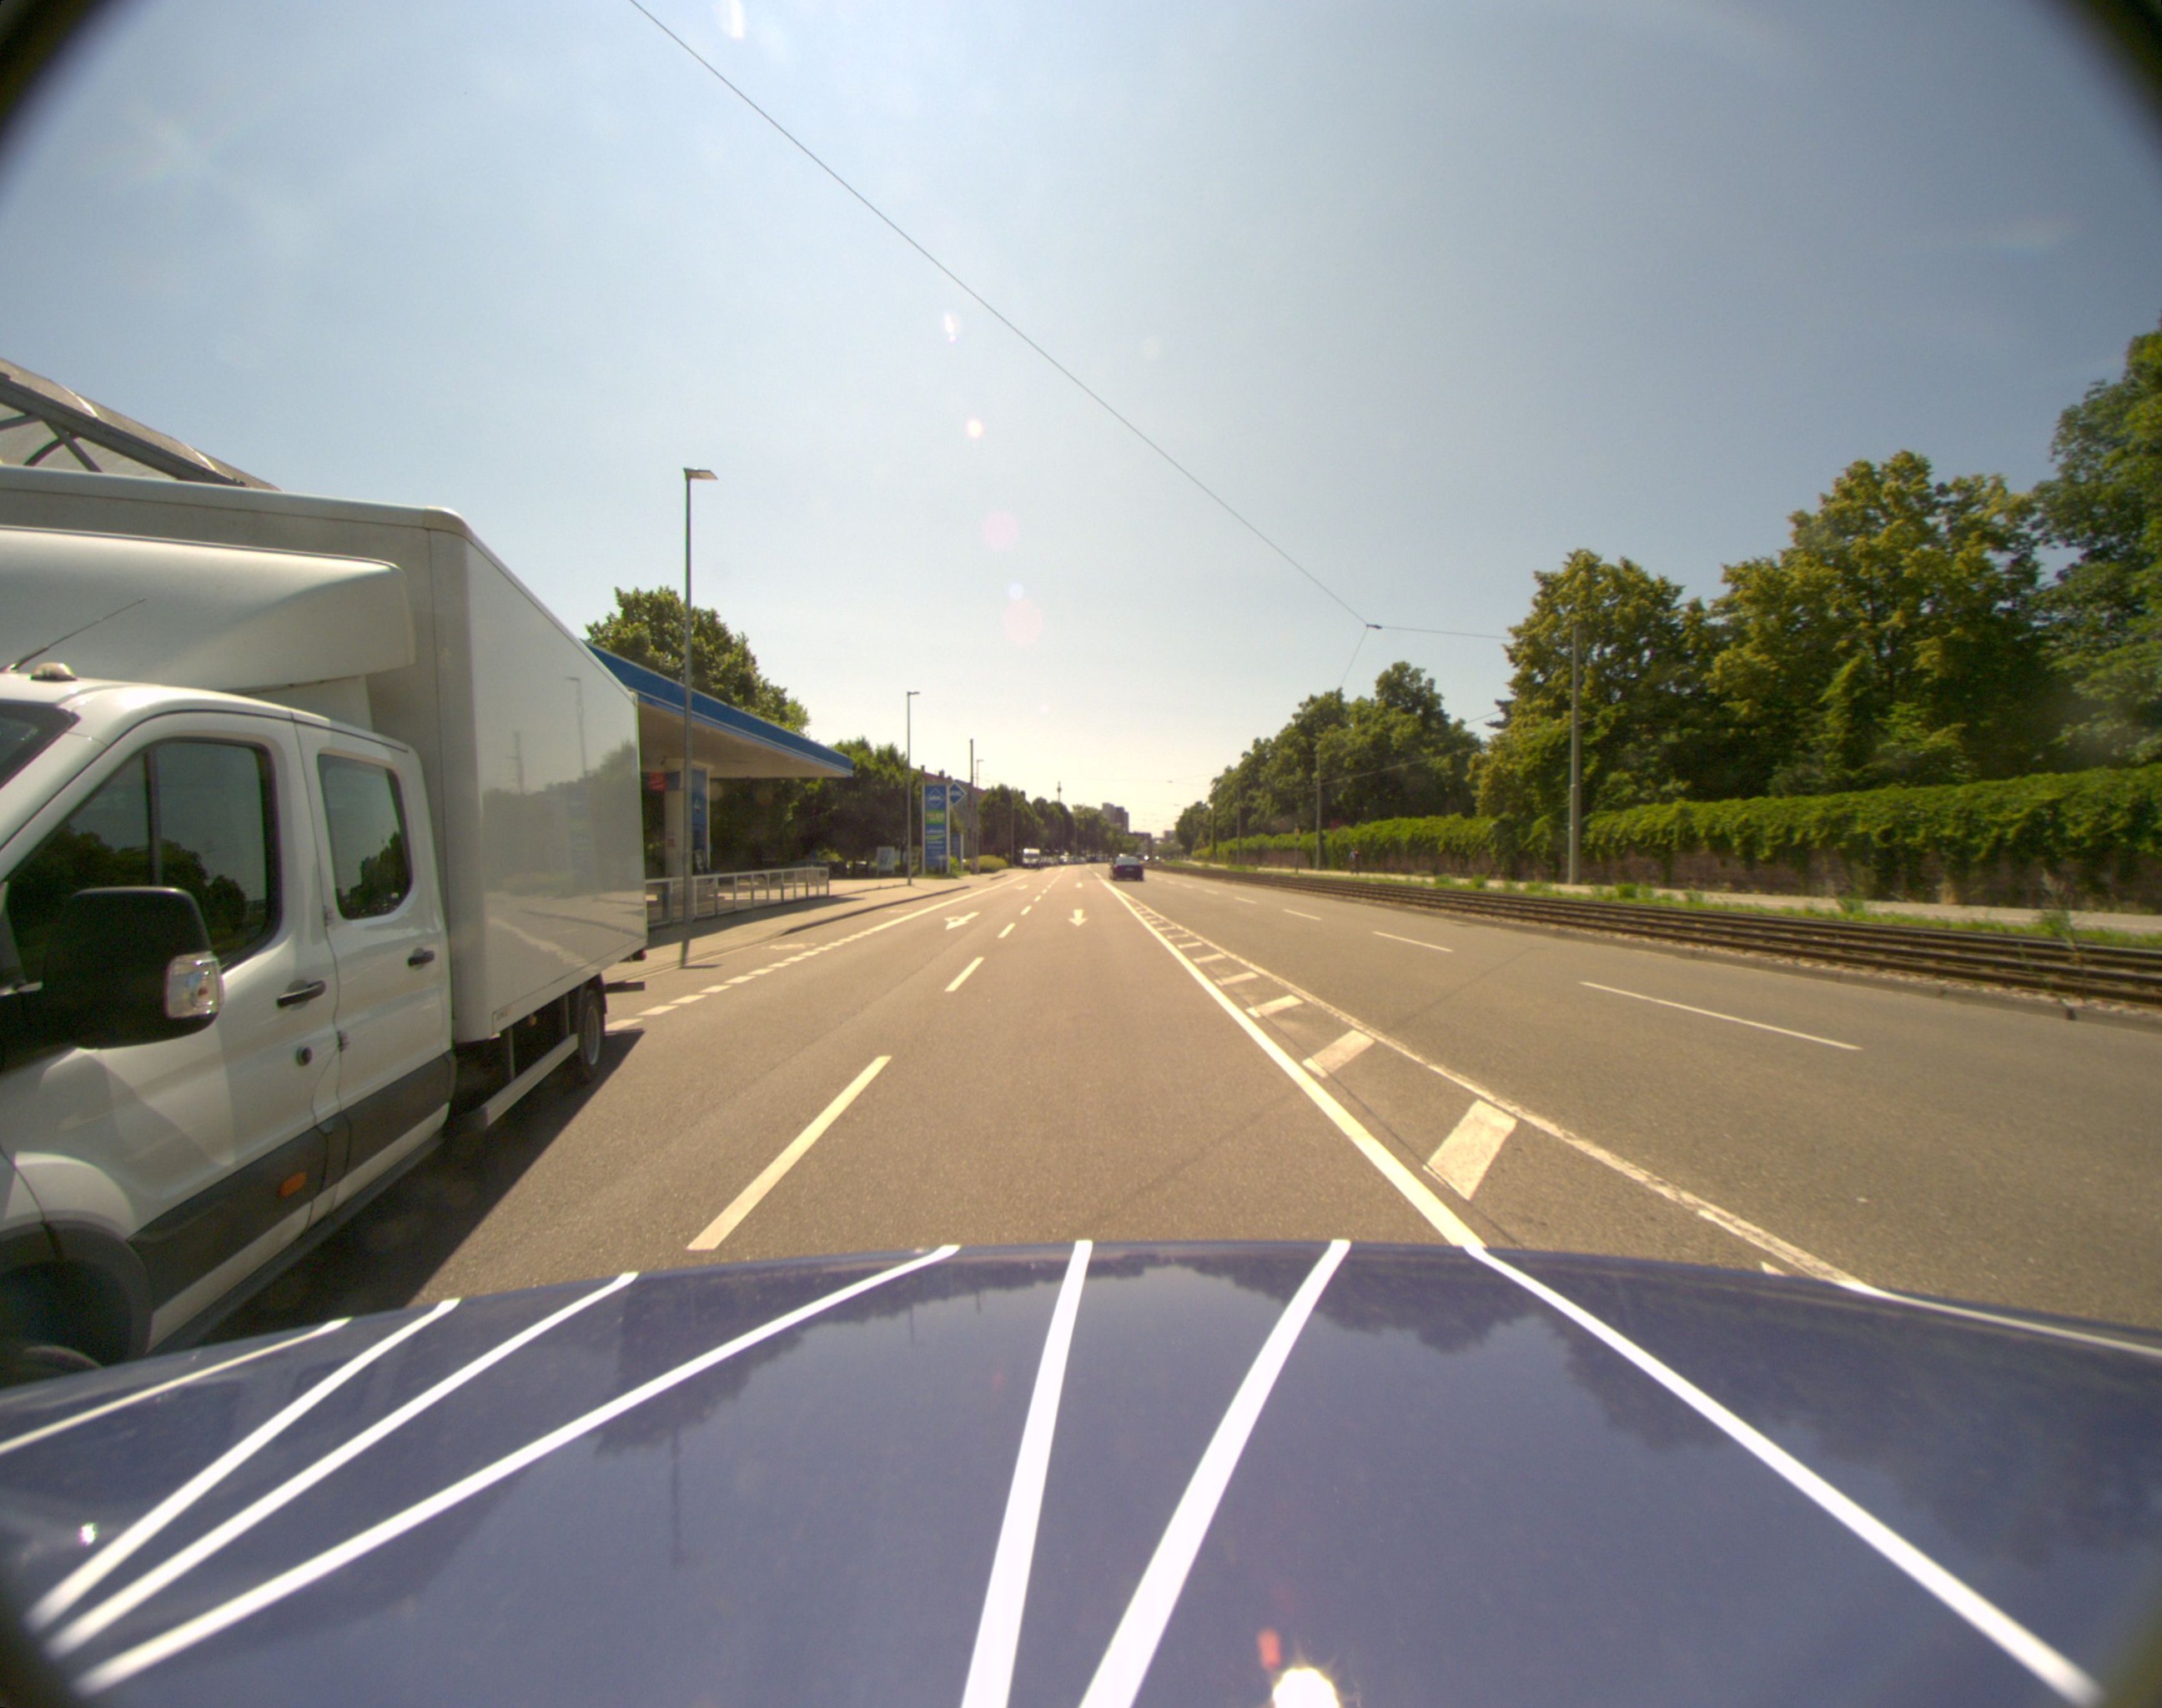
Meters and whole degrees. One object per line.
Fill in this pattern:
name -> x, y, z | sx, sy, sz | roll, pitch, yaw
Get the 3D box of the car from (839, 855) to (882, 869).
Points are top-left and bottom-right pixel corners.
car -> -25.489, 0.885, 87.858 | 4.221, 1.512, 2.001 | -1, 0, 8

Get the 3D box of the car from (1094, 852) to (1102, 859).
car -> 4.392, 0.260, 193.709 | 1.998, 1.718, 4.000 | -1, 0, 0

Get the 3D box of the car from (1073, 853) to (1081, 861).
car -> -0.835, 0.602, 162.673 | 1.807, 1.585, 4.000 | -1, 0, 0

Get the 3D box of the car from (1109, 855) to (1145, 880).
car -> 2.755, 0.790, 46.741 | 1.798, 1.391, 4.447 | -1, 0, -2

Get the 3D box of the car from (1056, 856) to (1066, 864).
car -> -3.760, 1.114, 142.629 | 1.725, 1.586, 4.000 | -1, 0, 2

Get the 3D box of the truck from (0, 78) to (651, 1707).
truck -> -4.219, 0.144, 3.658 | 2.430, 3.372, 7.819 | -1, 0, -20

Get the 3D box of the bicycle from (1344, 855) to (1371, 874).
bicycle -> 17.562, 0.636, 48.319 | 0.830, 1.149, 2.686 | -1, 0, 2

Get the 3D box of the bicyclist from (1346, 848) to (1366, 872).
bicyclist -> 17.544, 0.372, 48.492 | 0.997, 1.477, 1.000 | -1, 1, 3

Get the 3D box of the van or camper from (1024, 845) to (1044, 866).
van or camper -> -5.760, 0.205, 93.806 | 2.126, 2.469, 5.992 | 2, 0, -1

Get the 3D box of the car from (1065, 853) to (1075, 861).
car -> -2.189, 0.563, 154.537 | 1.907, 1.707, 4.000 | -1, 0, 0

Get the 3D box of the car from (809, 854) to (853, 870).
car -> -26.499, 0.849, 80.667 | 3.992, 1.677, 2.002 | -1, 0, 15

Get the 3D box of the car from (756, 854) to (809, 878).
car -> -22.679, 0.909, 57.945 | 1.998, 1.653, 4.411 | -1, 1, 4

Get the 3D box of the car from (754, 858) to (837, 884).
car -> -16.626, 0.944, 44.315 | 4.150, 1.413, 1.714 | -1, 0, -42
